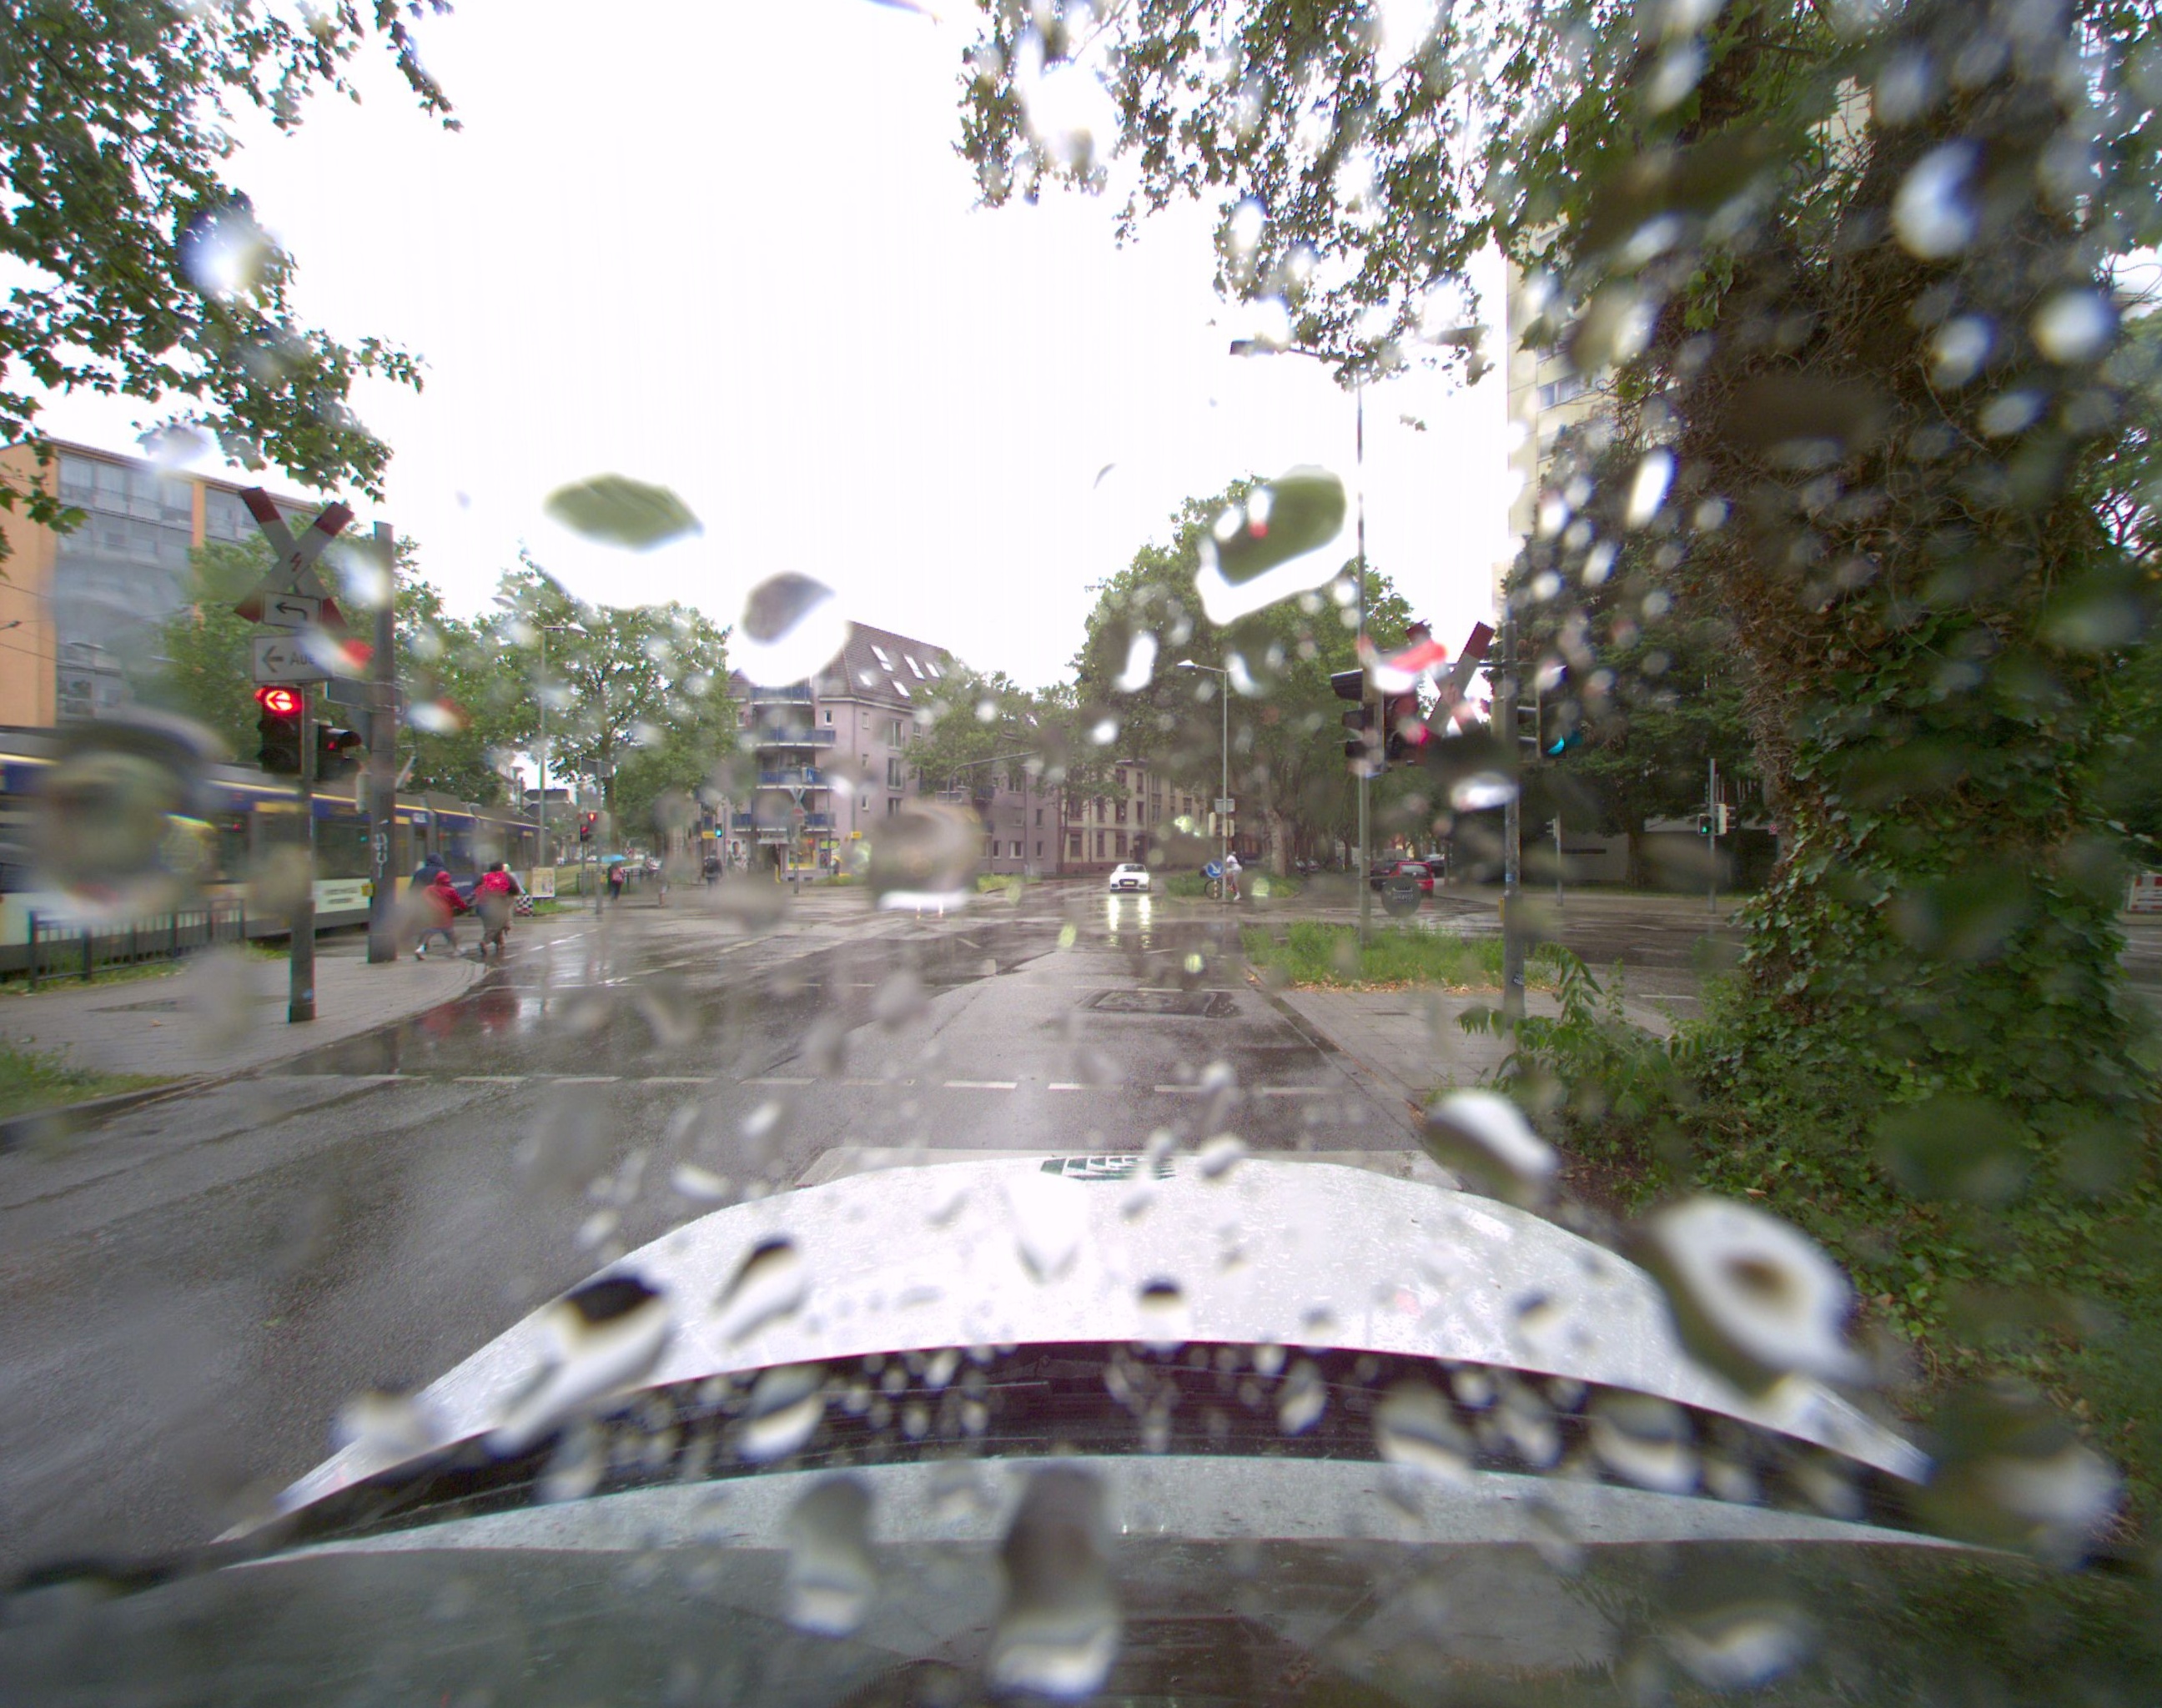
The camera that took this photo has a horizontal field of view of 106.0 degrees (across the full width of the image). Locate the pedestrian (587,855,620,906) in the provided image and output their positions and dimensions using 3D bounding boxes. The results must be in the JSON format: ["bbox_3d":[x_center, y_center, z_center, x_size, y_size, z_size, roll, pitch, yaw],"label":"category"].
[{"bbox_3d":[-16.996,0.923,28.979,0.962,1.766,0.944,0,-1,-28],"label":"pedestrian"}]

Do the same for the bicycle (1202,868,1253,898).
[{"bbox_3d":[5.465,1.068,30.397,1.862,1.081,0.658,-1,-1,9],"label":"bicycle"}]

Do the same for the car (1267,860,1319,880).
[{"bbox_3d":[16.933,1.274,65.186,3.958,1.486,2.008,-1,-1,14],"label":"car"}]

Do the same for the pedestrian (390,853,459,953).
[{"bbox_3d":[-11.782,0.848,14.613,0.844,1.698,0.680,-4,3,-42],"label":"pedestrian"}]

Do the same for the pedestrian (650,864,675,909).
[{"bbox_3d":[-13.443,1.030,26.152,0.653,1.396,0.774,0,0,-33],"label":"pedestrian"}]

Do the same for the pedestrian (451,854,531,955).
[{"bbox_3d":[-9.962,0.830,13.777,0.728,1.624,0.816,-1,1,-5],"label":"pedestrian"}]

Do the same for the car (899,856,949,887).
[{"bbox_3d":[-8.006,0.851,41.841,1.745,1.512,3.839,0,0,1],"label":"car"}]

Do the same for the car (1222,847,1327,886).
[{"bbox_3d":[7.753,0.517,32.663,3.958,1.486,2.008,-1,-1,14],"label":"car"}]

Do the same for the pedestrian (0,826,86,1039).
[{"bbox_3d":[-9.784,0.684,7.366,0.876,1.864,0.881,0,0,-43],"label":"pedestrian"}]

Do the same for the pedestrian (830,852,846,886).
[{"bbox_3d":[-15.682,0.978,52.538,0.912,2.151,0.880,0,-1,-22],"label":"pedestrian"}]

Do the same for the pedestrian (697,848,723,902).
[{"bbox_3d":[-12.830,0.706,28.203,0.791,1.855,0.676,0,0,-22],"label":"pedestrian"}]

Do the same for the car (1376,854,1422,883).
[{"bbox_3d":[15.895,0.696,40.870,1.770,1.348,3.945,0,1,16],"label":"car"}]

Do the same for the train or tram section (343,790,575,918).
[{"bbox_3d":[-21.508,0.015,29.456,2.870,3.545,13.620,0,0,-21],"label":"train or tram section"}]

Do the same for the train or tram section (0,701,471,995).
[{"bbox_3d":[-16.579,-0.041,15.827,2.868,3.545,15.276,0,0,-19],"label":"train or tram section"}]

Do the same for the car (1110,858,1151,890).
[{"bbox_3d":[2.389,0.934,39.184,1.876,1.436,4.004,0,0,4],"label":"car"}]

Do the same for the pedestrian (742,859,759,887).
[{"bbox_3d":[-18.297,1.059,45.062,0.754,1.533,0.784,0,-1,-30],"label":"pedestrian"}]

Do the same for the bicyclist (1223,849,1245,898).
[{"bbox_3d":[5.691,0.714,30.367,0.790,1.786,0.699,-1,-1,9],"label":"bicyclist"}]

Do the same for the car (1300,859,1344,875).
[{"bbox_3d":[23.136,1.251,78.261,3.958,1.547,2.008,-1,-1,14],"label":"car"}]

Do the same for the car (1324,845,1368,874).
[{"bbox_3d":[28.322,0.584,87.217,2.040,2.948,4.742,0,-1,-18],"label":"car"}]

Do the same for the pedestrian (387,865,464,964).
[{"bbox_3d":[-10.430,0.937,12.983,0.680,1.520,0.659,-1,0,-3],"label":"pedestrian"}]

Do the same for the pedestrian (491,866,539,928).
[{"bbox_3d":[-12.710,0.940,18.295,0.657,1.349,0.706,0,0,-12],"label":"pedestrian"}]

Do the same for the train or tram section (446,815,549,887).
[{"bbox_3d":[-36.255,-0.074,51.361,2.897,3.768,17.089,0,-1,-28],"label":"train or tram section"}]

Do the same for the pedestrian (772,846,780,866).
[{"bbox_3d":[-20.635,0.122,55.052,0.445,1.329,0.558,0,-1,-15],"label":"pedestrian"}]

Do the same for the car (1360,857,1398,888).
[{"bbox_3d":[17.325,1.062,47.426,1.769,1.727,4.017,-1,-1,16],"label":"car"}]

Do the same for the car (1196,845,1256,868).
[{"bbox_3d":[9.652,0.199,54.121,3.838,1.486,1.723,-1,-1,14],"label":"car"}]

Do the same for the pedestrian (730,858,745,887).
[{"bbox_3d":[-19.461,1.053,46.117,0.674,1.600,0.963,0,-1,-15],"label":"pedestrian"}]

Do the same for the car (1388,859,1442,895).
[{"bbox_3d":[14.826,0.980,36.335,1.778,1.498,4.017,0,0,16],"label":"car"}]

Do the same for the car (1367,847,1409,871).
[{"bbox_3d":[38.988,0.637,103.569,2.006,2.948,4.726,0,-1,-29],"label":"car"}]
